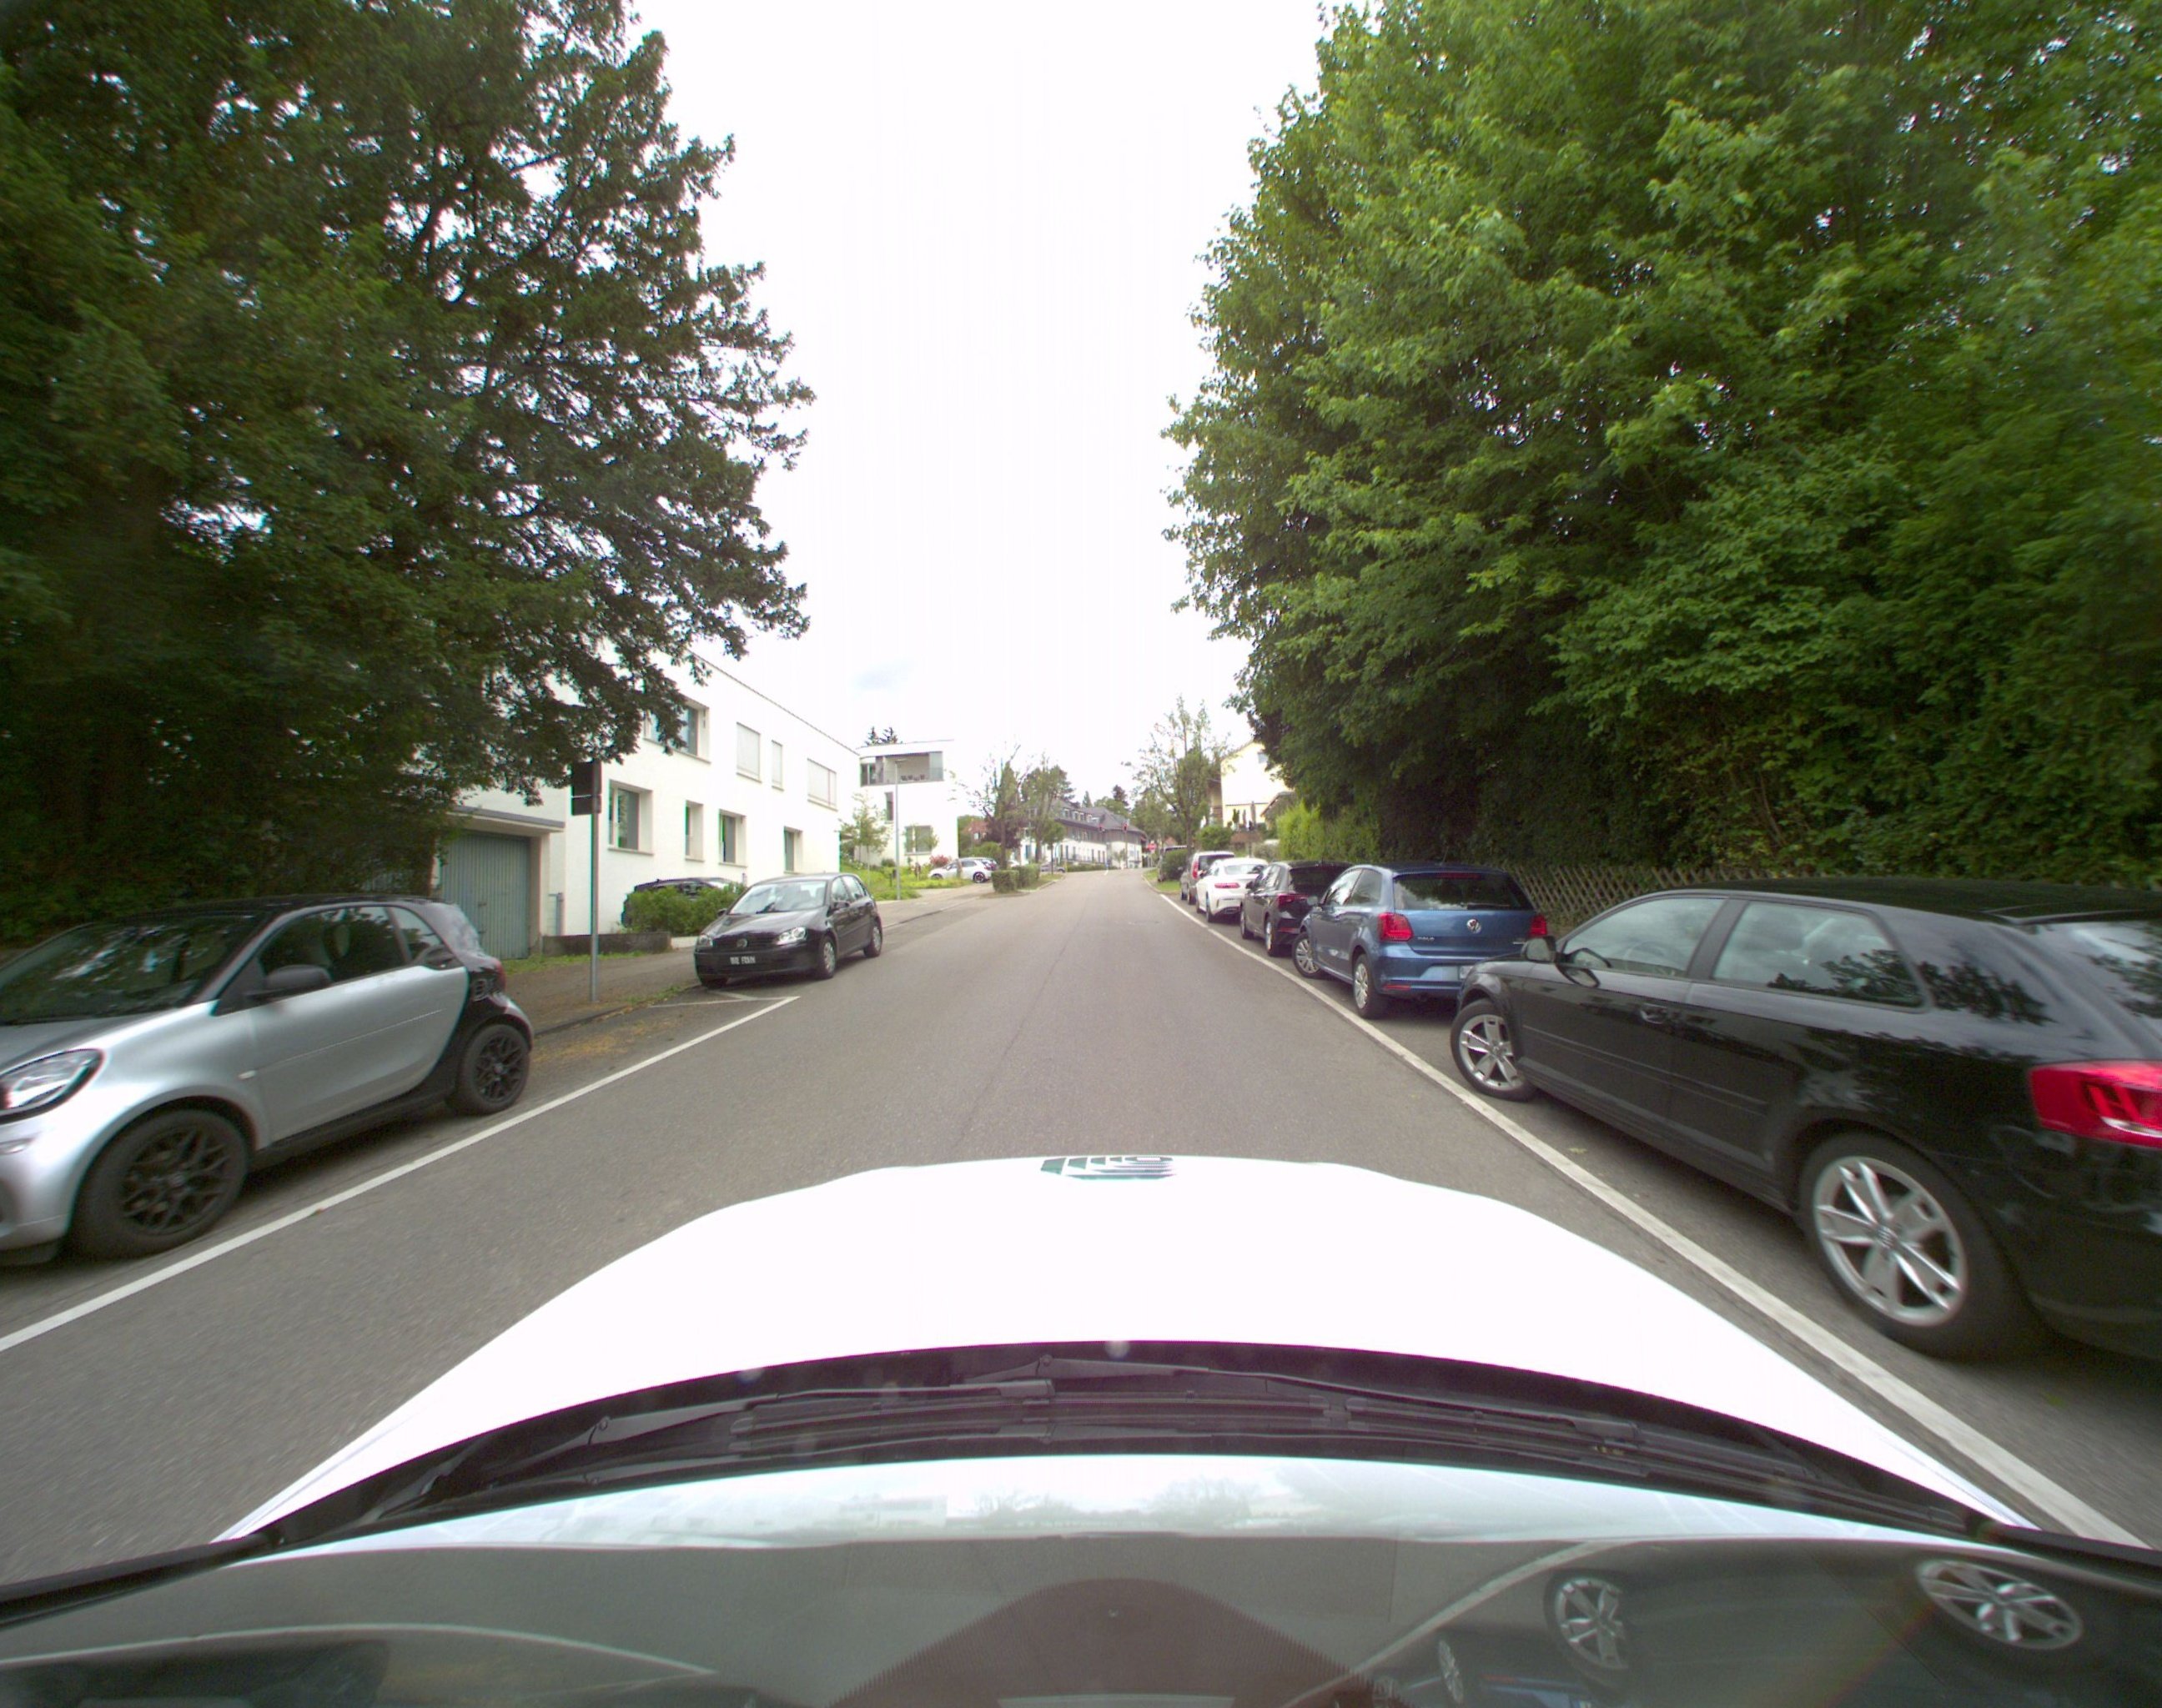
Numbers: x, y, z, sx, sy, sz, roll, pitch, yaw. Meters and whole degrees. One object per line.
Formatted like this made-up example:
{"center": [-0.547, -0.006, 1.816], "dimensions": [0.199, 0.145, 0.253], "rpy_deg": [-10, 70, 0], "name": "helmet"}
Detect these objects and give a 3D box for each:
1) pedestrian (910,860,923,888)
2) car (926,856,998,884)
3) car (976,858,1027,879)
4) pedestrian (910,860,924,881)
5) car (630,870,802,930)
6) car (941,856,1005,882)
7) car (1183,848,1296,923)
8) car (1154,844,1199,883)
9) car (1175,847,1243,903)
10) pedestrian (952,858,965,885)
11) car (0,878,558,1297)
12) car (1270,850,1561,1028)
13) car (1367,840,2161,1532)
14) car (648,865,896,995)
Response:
{"center": [-9.817, 1.187, 48.696], "dimensions": [0.586, 1.682, 0.520], "rpy_deg": [-2, -1, 4], "name": "pedestrian"}
{"center": [-7.848, 1.058, 54.116], "dimensions": [4.371, 1.566, 2.067], "rpy_deg": [-3, 0, 1], "name": "car"}
{"center": [-7.102, 1.275, 72.952], "dimensions": [4.247, 1.623, 2.013], "rpy_deg": [-3, -2, -1], "name": "car"}
{"center": [-10.421, 1.034, 51.797], "dimensions": [0.604, 1.283, 0.900], "rpy_deg": [-1, -1, 2], "name": "pedestrian"}
{"center": [-9.738, 1.208, 21.942], "dimensions": [3.786, 1.354, 1.739], "rpy_deg": [-2, 0, -3], "name": "car"}
{"center": [-7.483, 1.060, 56.688], "dimensions": [3.970, 1.653, 2.010], "rpy_deg": [-2, 0, 3], "name": "car"}
{"center": [3.663, 0.673, 19.770], "dimensions": [1.985, 1.491, 5.009], "rpy_deg": [-3, 0, 3], "name": "car"}
{"center": [4.895, 0.460, 42.368], "dimensions": [1.928, 1.838, 5.223], "rpy_deg": [-2, 0, 3], "name": "car"}
{"center": [4.012, 0.629, 26.013], "dimensions": [1.710, 1.632, 3.931], "rpy_deg": [-1, 0, 3], "name": "car"}
{"center": [-7.787, 1.099, 51.853], "dimensions": [0.591, 1.640, 0.566], "rpy_deg": [-3, -1, 3], "name": "pedestrian"}
{"center": [-4.770, 0.958, 4.579], "dimensions": [1.618, 1.519, 2.976], "rpy_deg": [-2, -1, 2], "name": "car"}
{"center": [3.312, 0.728, 8.988], "dimensions": [1.690, 1.508, 4.163], "rpy_deg": [0, 0, 3], "name": "car"}
{"center": [3.163, 0.728, 4.013], "dimensions": [1.805, 1.452, 4.375], "rpy_deg": [-3, 0, -2], "name": "car"}
{"center": [-4.374, 0.972, 12.469], "dimensions": [1.844, 1.469, 4.684], "rpy_deg": [-3, 0, 1], "name": "car"}
